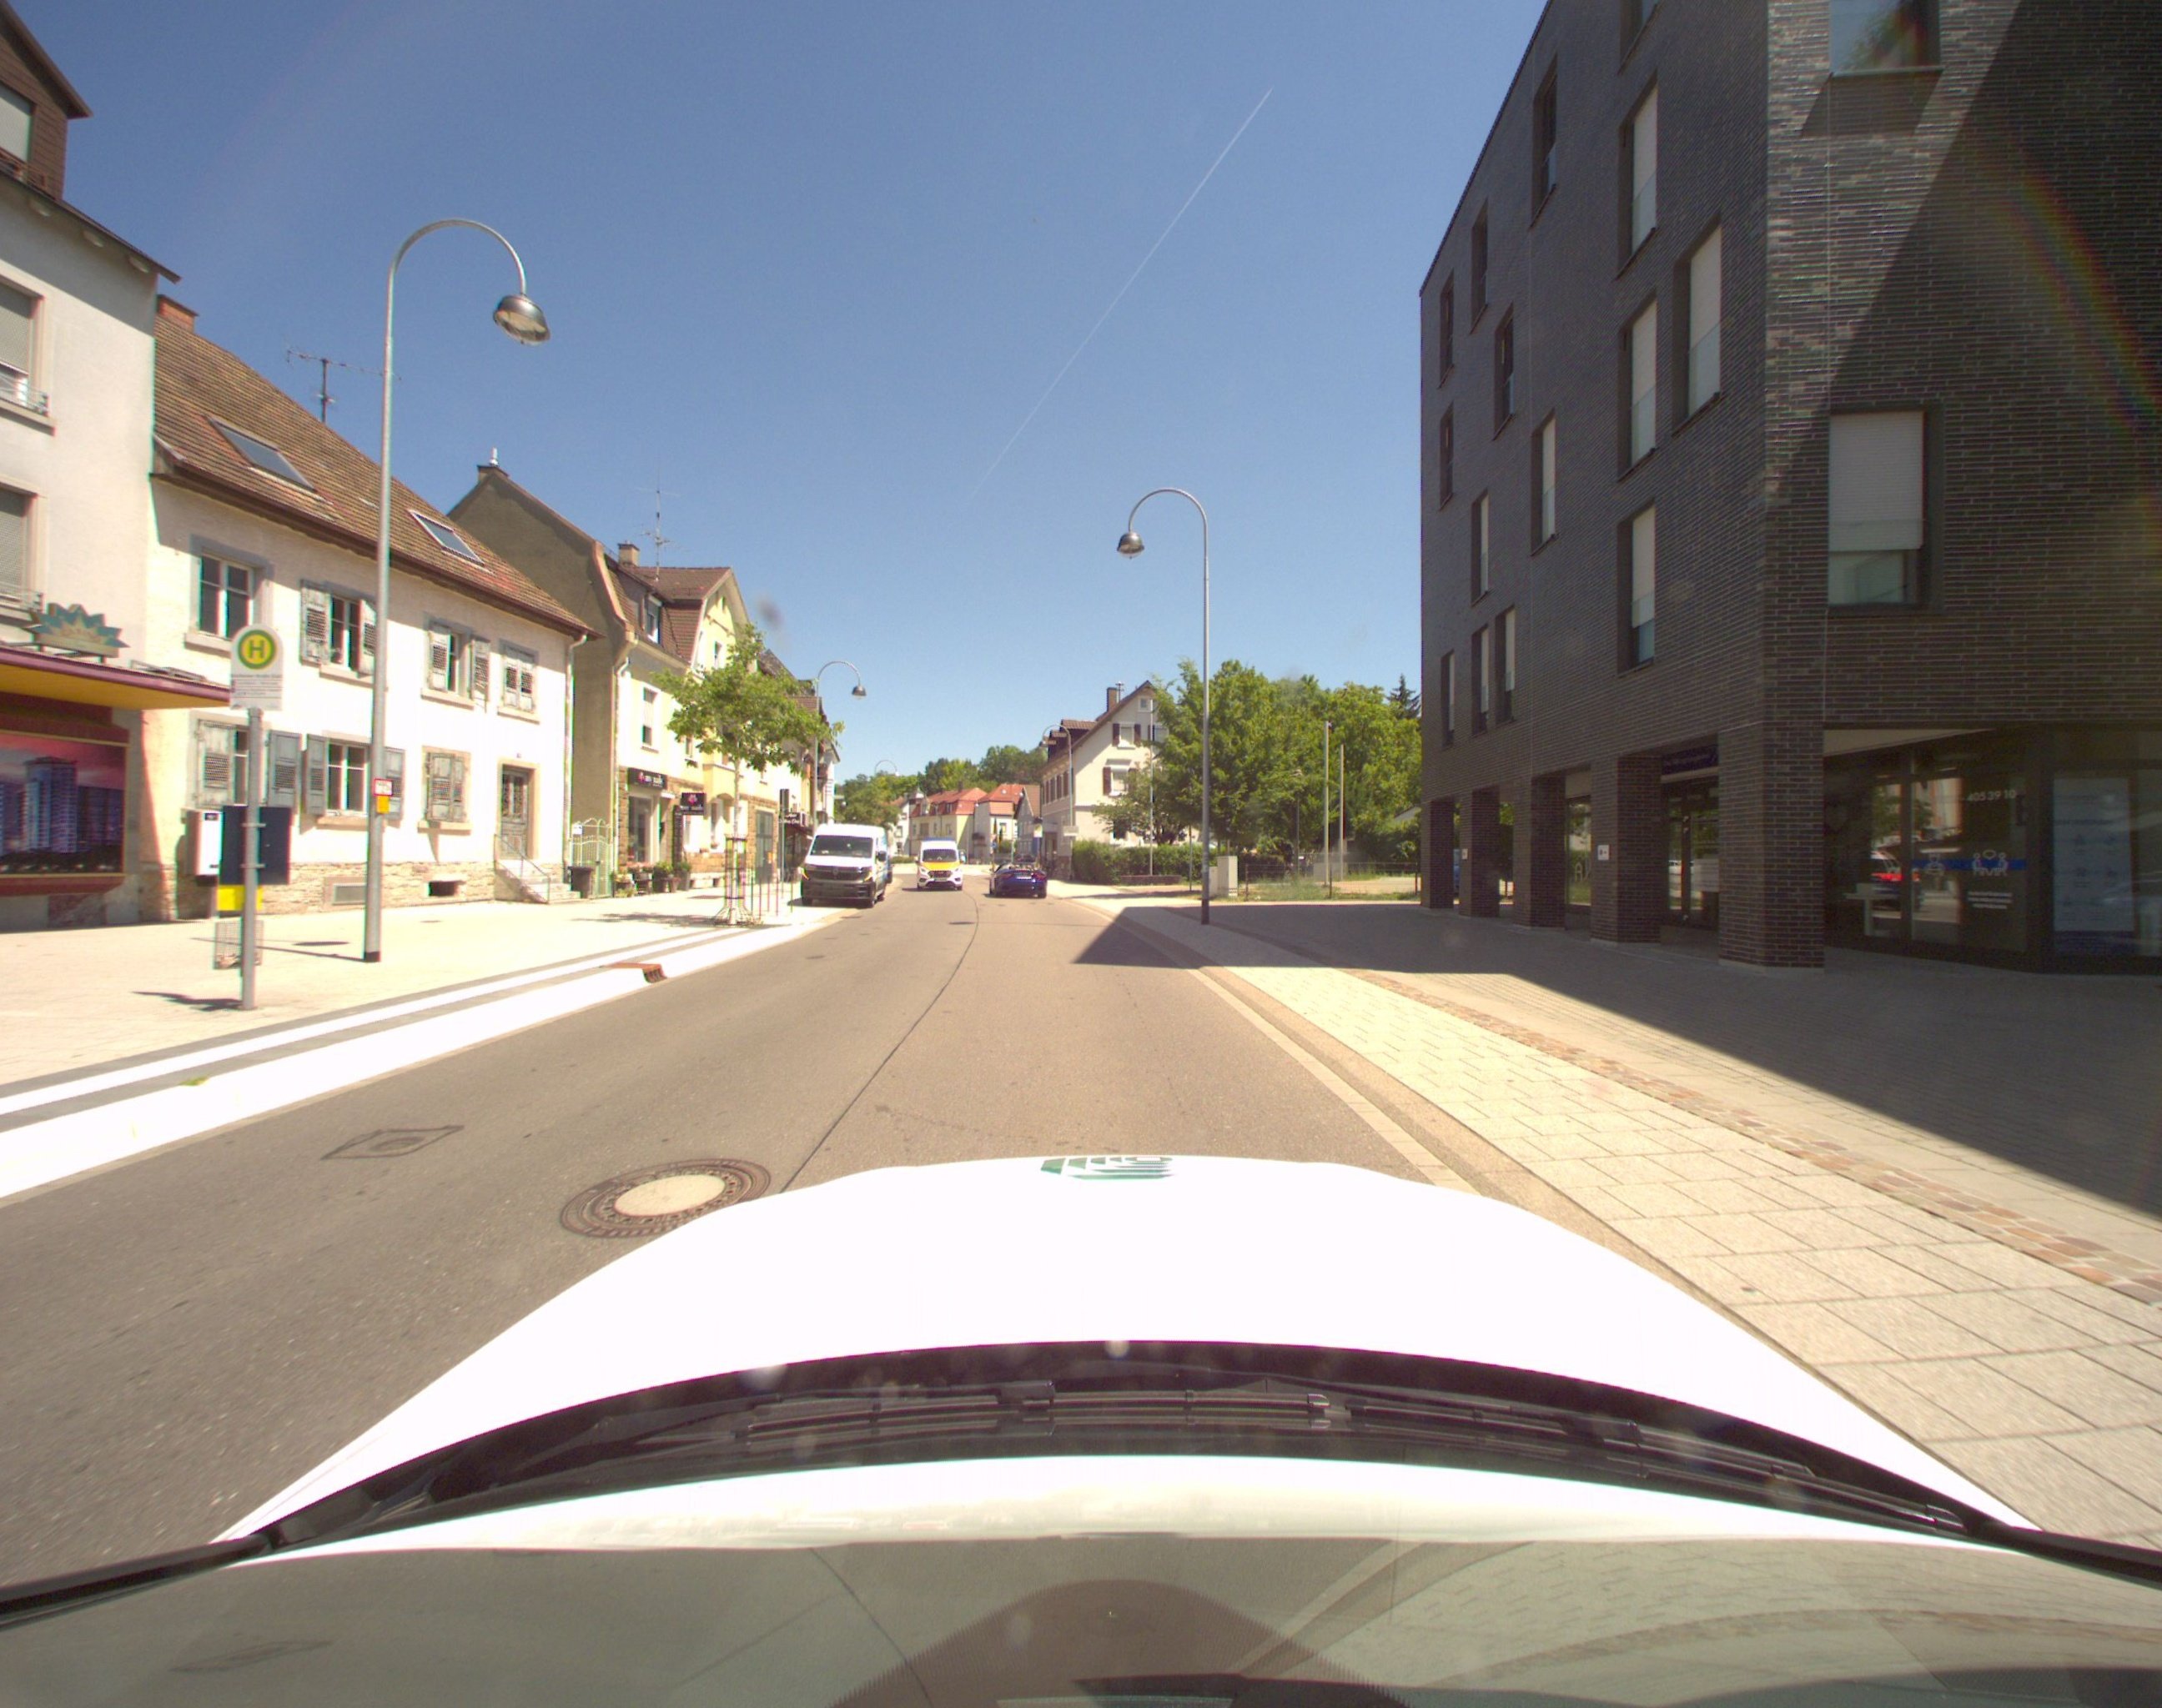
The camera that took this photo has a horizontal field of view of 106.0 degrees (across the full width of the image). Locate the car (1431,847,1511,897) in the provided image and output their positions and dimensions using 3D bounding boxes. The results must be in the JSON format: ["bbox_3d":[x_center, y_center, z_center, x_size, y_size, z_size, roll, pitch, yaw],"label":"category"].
[{"bbox_3d":[12.144,0.498,25.600,1.796,1.441,4.193,0,1,19],"label":"car"}]

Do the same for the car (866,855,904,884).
[{"bbox_3d":[-11.238,0.855,46.903,1.916,1.481,4.319,3,-1,-12],"label":"car"}]

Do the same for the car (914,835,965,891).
[{"bbox_3d":[-6.546,0.372,37.724,2.156,2.362,5.229,-1,0,-10],"label":"car"}]

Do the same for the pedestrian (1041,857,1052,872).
[{"bbox_3d":[-2.357,0.729,55.813,0.590,0.999,0.721,-1,0,-13],"label":"pedestrian"}]

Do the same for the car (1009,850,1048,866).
[{"bbox_3d":[-5.825,0.459,90.643,3.966,1.750,1.922,0,0,6],"label":"car"}]

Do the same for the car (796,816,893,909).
[{"bbox_3d":[-7.156,0.246,25.192,2.091,2.498,5.486,2,-1,-9],"label":"car"}]

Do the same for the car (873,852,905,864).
[{"bbox_3d":[-21.830,0.468,92.401,2.010,1.329,4.152,-1,0,-38],"label":"car"}]

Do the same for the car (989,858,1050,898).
[{"bbox_3d":[-2.405,0.866,30.933,1.911,1.360,4.270,1,0,-10],"label":"car"}]

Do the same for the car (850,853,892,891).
[{"bbox_3d":[-8.960,0.783,35.014,1.561,1.521,3.501,1,-1,-12],"label":"car"}]
